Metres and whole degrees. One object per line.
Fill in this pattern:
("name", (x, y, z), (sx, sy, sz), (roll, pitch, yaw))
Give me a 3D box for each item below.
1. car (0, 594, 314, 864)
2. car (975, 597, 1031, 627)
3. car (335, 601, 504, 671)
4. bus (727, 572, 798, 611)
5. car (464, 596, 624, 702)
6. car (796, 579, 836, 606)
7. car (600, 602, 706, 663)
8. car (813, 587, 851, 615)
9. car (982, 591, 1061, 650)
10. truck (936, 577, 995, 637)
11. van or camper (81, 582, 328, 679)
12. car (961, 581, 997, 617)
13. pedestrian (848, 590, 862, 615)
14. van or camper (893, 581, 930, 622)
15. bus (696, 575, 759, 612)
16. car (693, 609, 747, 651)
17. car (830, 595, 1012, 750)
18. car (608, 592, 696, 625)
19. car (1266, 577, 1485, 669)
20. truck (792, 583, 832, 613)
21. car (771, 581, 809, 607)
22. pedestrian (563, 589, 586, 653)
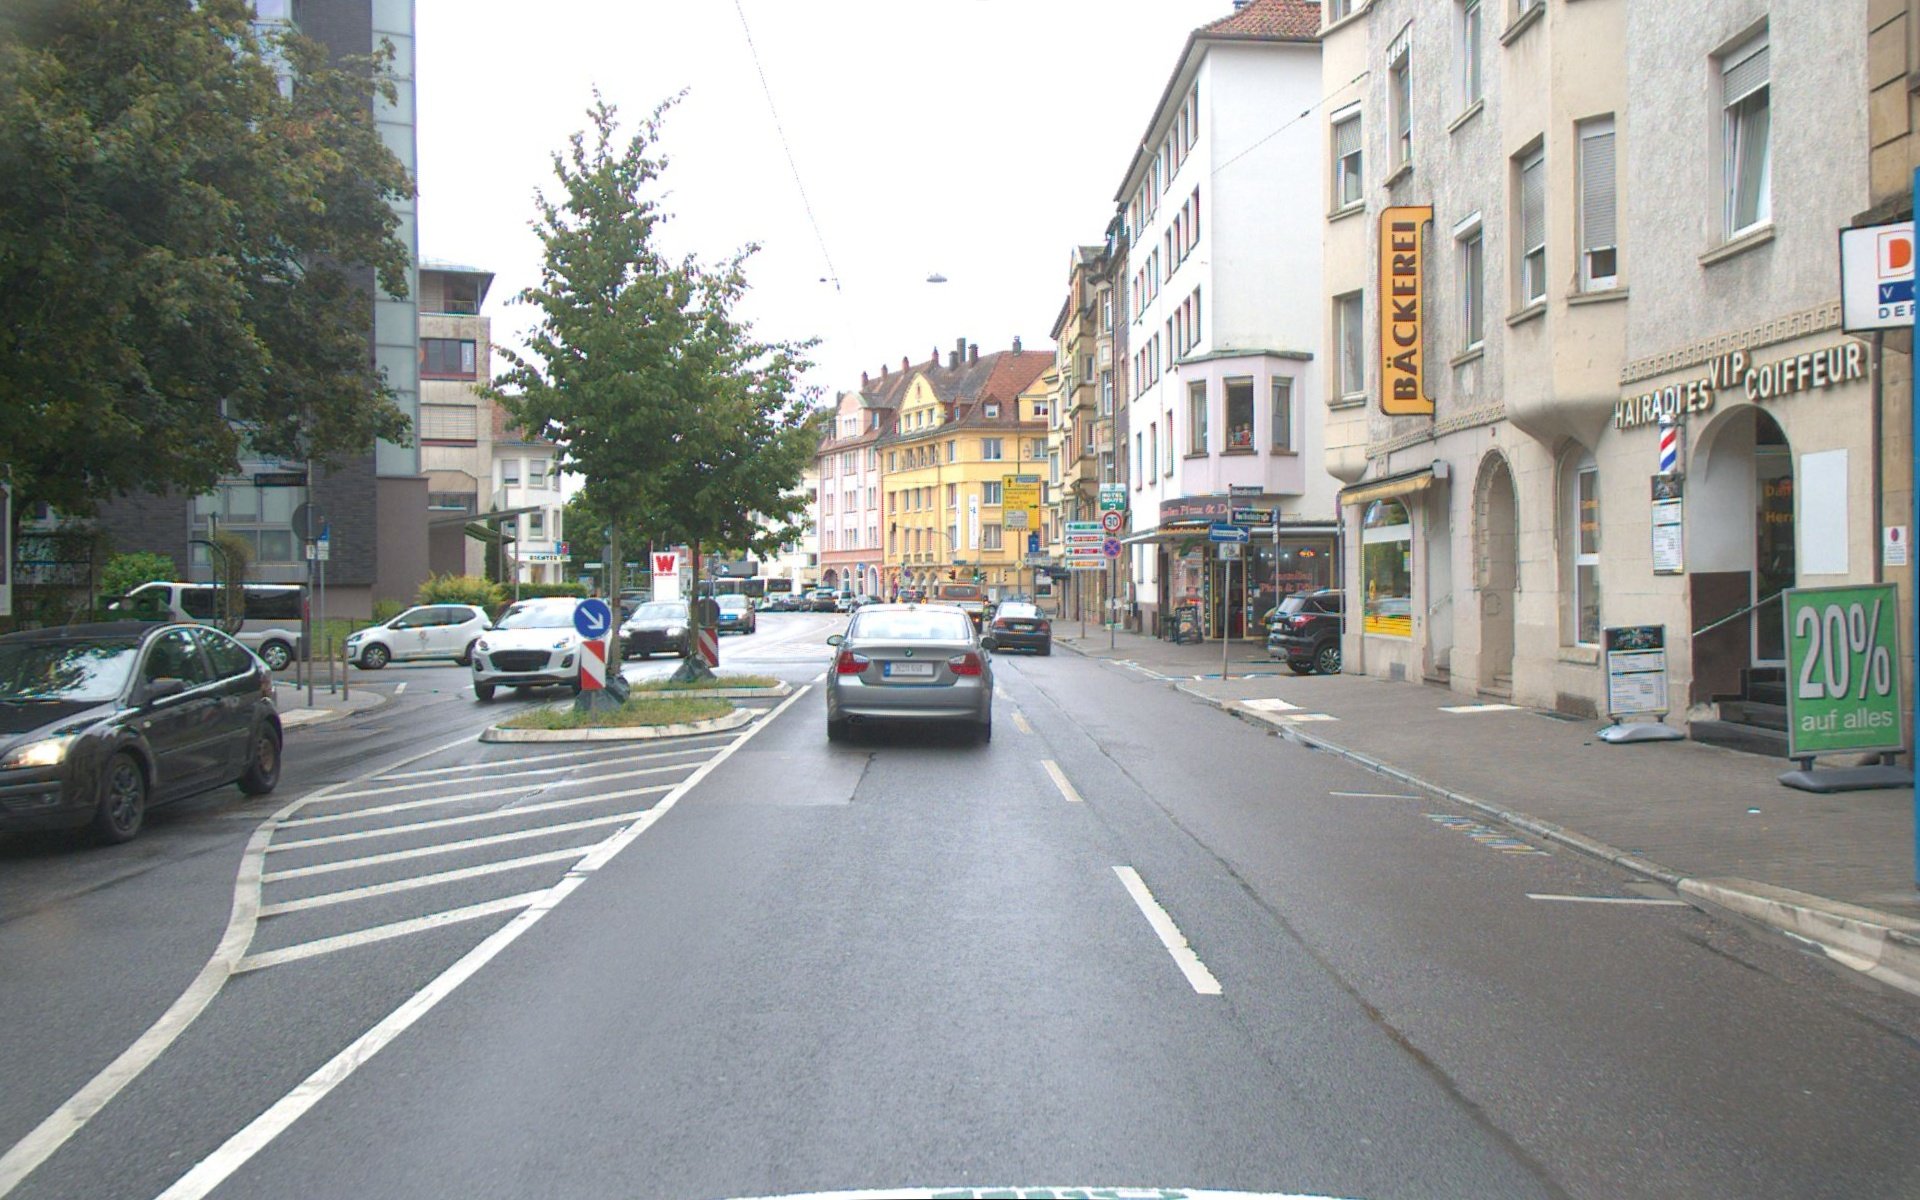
("car", (-6.422, 0.814, 11.987), (1.916, 1.584, 4.241), (-4, 0, -3))
("car", (3.188, 0.883, 122.391), (3.902, 2.049, 2.001), (2, -1, 7))
("car", (-13.020, 0.848, 39.872), (3.546, 1.597, 1.720), (0, 0, -35))
("bus", (-16.731, -0.670, 139.679), (2.876, 3.159, 9.057), (-1, 0, -28))
("car", (-6.889, 0.759, 27.786), (1.783, 1.596, 4.087), (-1, 0, -3))
("car", (-11.000, -0.549, 126.148), (1.966, 2.049, 3.973), (0, 0, -22))
("car", (-7.891, 0.802, 42.898), (1.973, 1.450, 4.499), (1, 0, -1))
("car", (-10.859, 0.040, 140.113), (1.740, 2.218, 3.966), (3, -1, -26))
("car", (1.664, 0.571, 46.087), (1.764, 1.590, 3.996), (0, -1, -4))
("truck", (0.160, 0.258, 65.869), (2.179, 2.289, 5.061), (0, 0, -2))
("van or camper", (-16.995, 0.653, 37.286), (4.901, 2.049, 1.979), (0, 0, -31))
("car", (1.086, -0.072, 96.214), (1.953, 2.049, 3.998), (0, 0, -2))
("pedestrian", (-6.553, 0.146, 103.504), (0.750, 1.556, 0.505), (2, -1, -22))
("van or camper", (-2.700, 0.068, 91.324), (1.818, 2.184, 4.139), (1, 0, -4))
("bus", (-20.811, -0.550, 147.598), (2.874, 3.159, 8.793), (-1, 0, -27))
("car", (-10.205, 1.260, 70.169), (1.915, 1.688, 4.042), (0, 0, -14))
("car", (-0.464, 0.703, 18.367), (1.763, 1.489, 4.369), (1, 0, -2))
("car", (-16.124, 0.439, 86.872), (4.360, 1.553, 1.883), (2, 0, -7))
("car", (8.331, 0.445, 33.419), (4.050, 1.803, 1.874), (0, 0, 5))
("truck", (-13.028, -0.177, 145.579), (2.001, 2.431, 4.201), (3, 0, -26))
("car", (-13.561, -0.475, 131.891), (1.966, 2.049, 3.972), (0, 0, -22))
("pedestrian", (-10.889, 0.591, 46.757), (0.563, 1.793, 0.580), (0, 0, -8))
